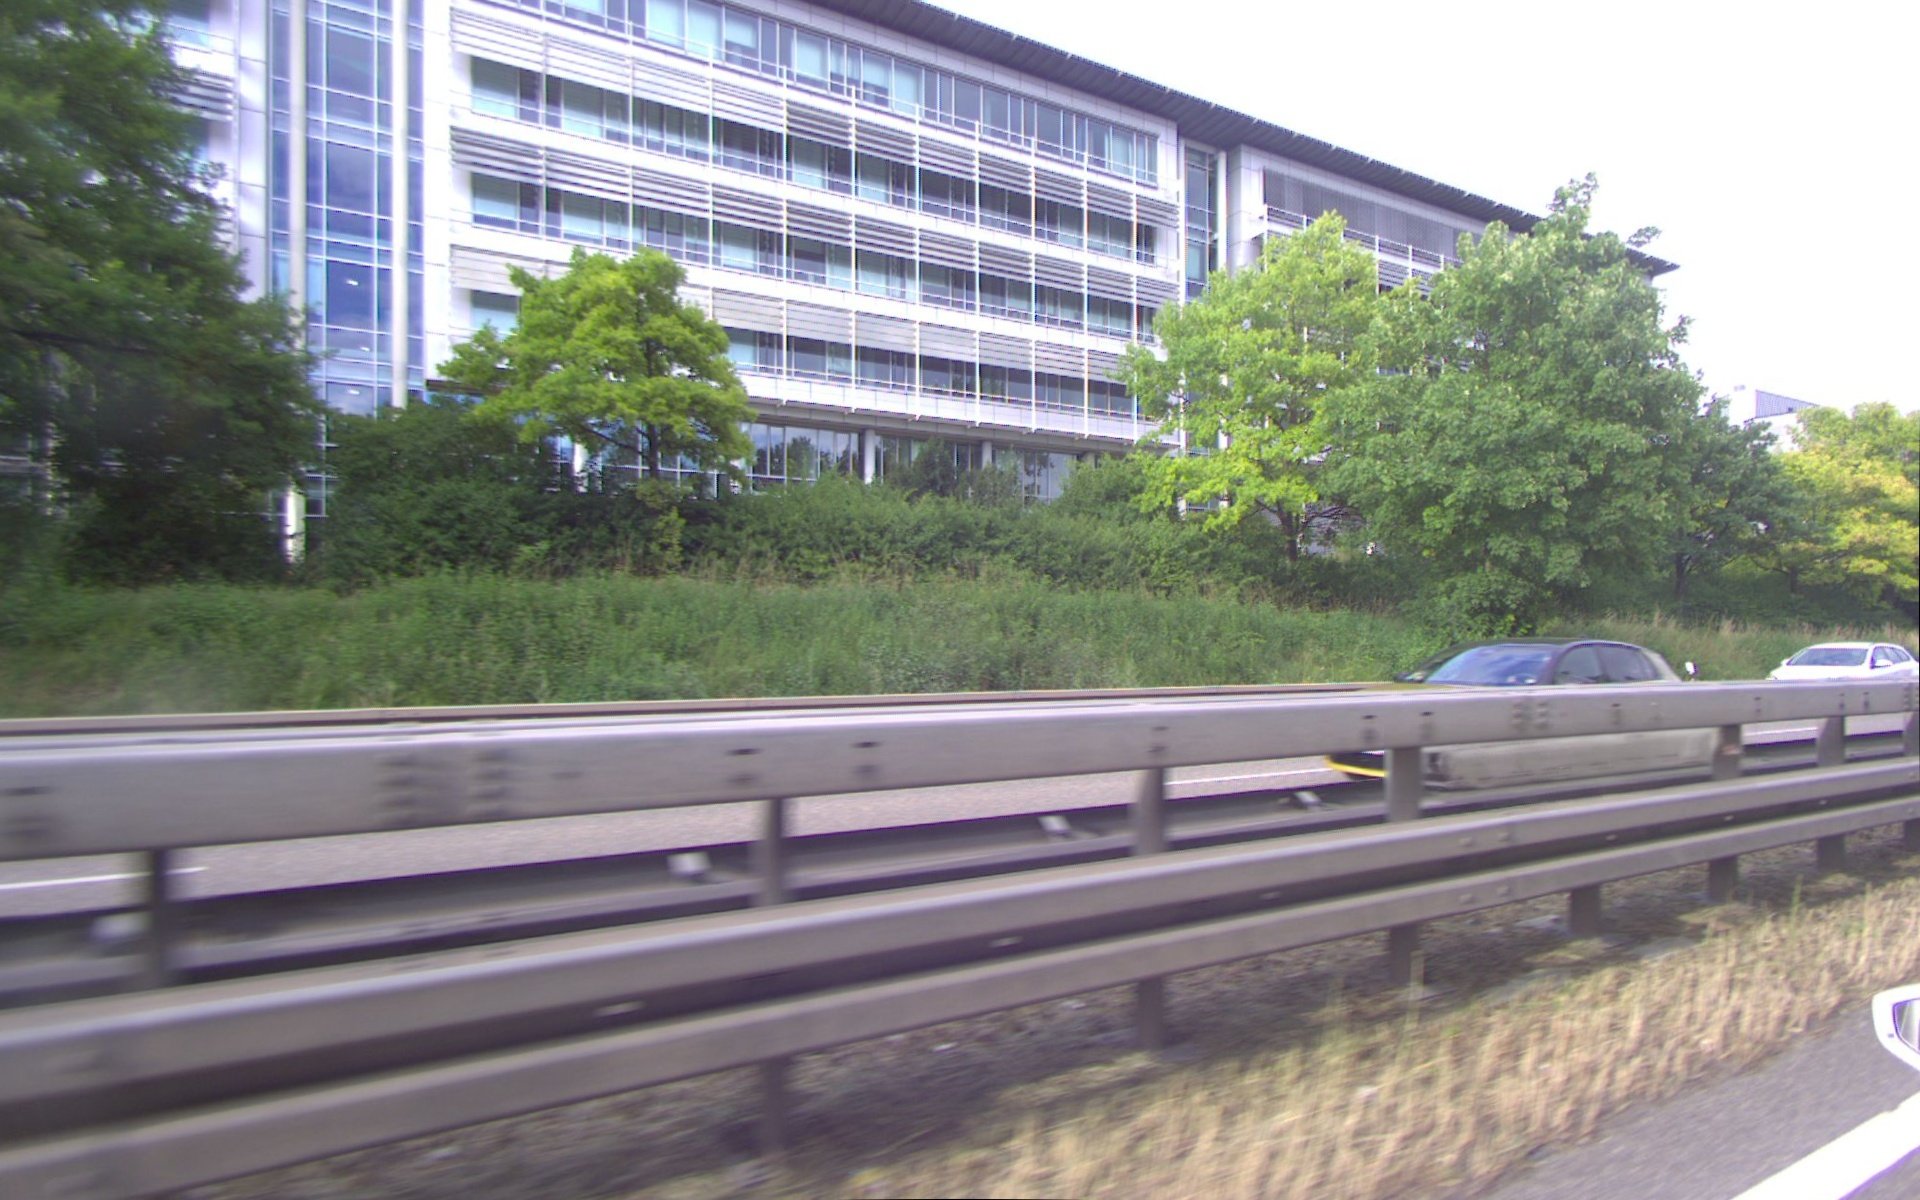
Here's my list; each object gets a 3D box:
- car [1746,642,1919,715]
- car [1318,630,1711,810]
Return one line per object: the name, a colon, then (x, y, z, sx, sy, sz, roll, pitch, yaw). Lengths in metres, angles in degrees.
car: (19.826, 1.708, 22.667, 4.365, 1.504, 1.809, 1, -3, -30)
car: (5.506, 1.053, 9.870, 3.953, 1.466, 1.584, 2, -2, -30)
